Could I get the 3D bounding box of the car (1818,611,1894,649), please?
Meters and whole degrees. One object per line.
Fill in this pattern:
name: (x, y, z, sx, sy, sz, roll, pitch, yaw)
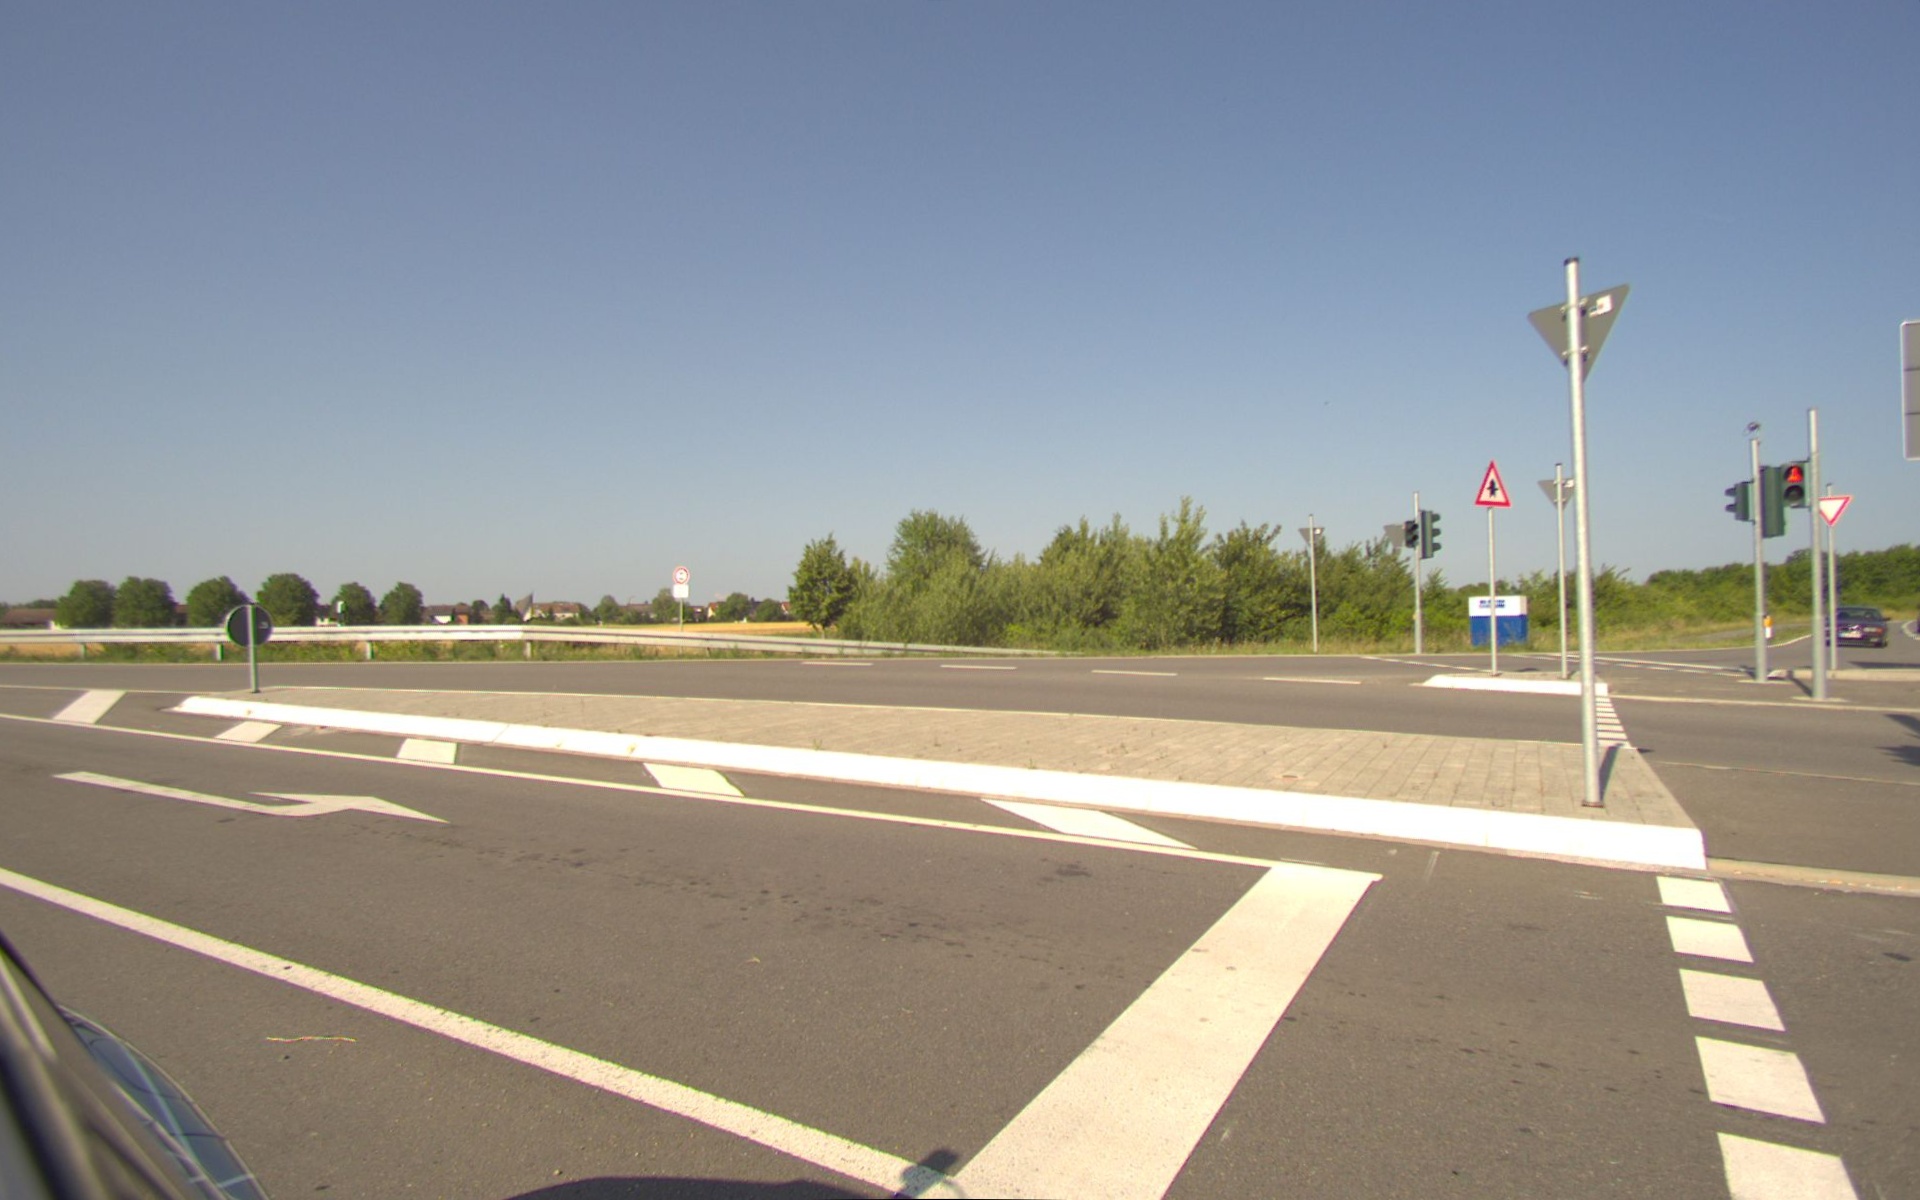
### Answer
car: (29.334, 0.938, 33.093, 1.740, 1.120, 3.943, 0, 0, 43)
